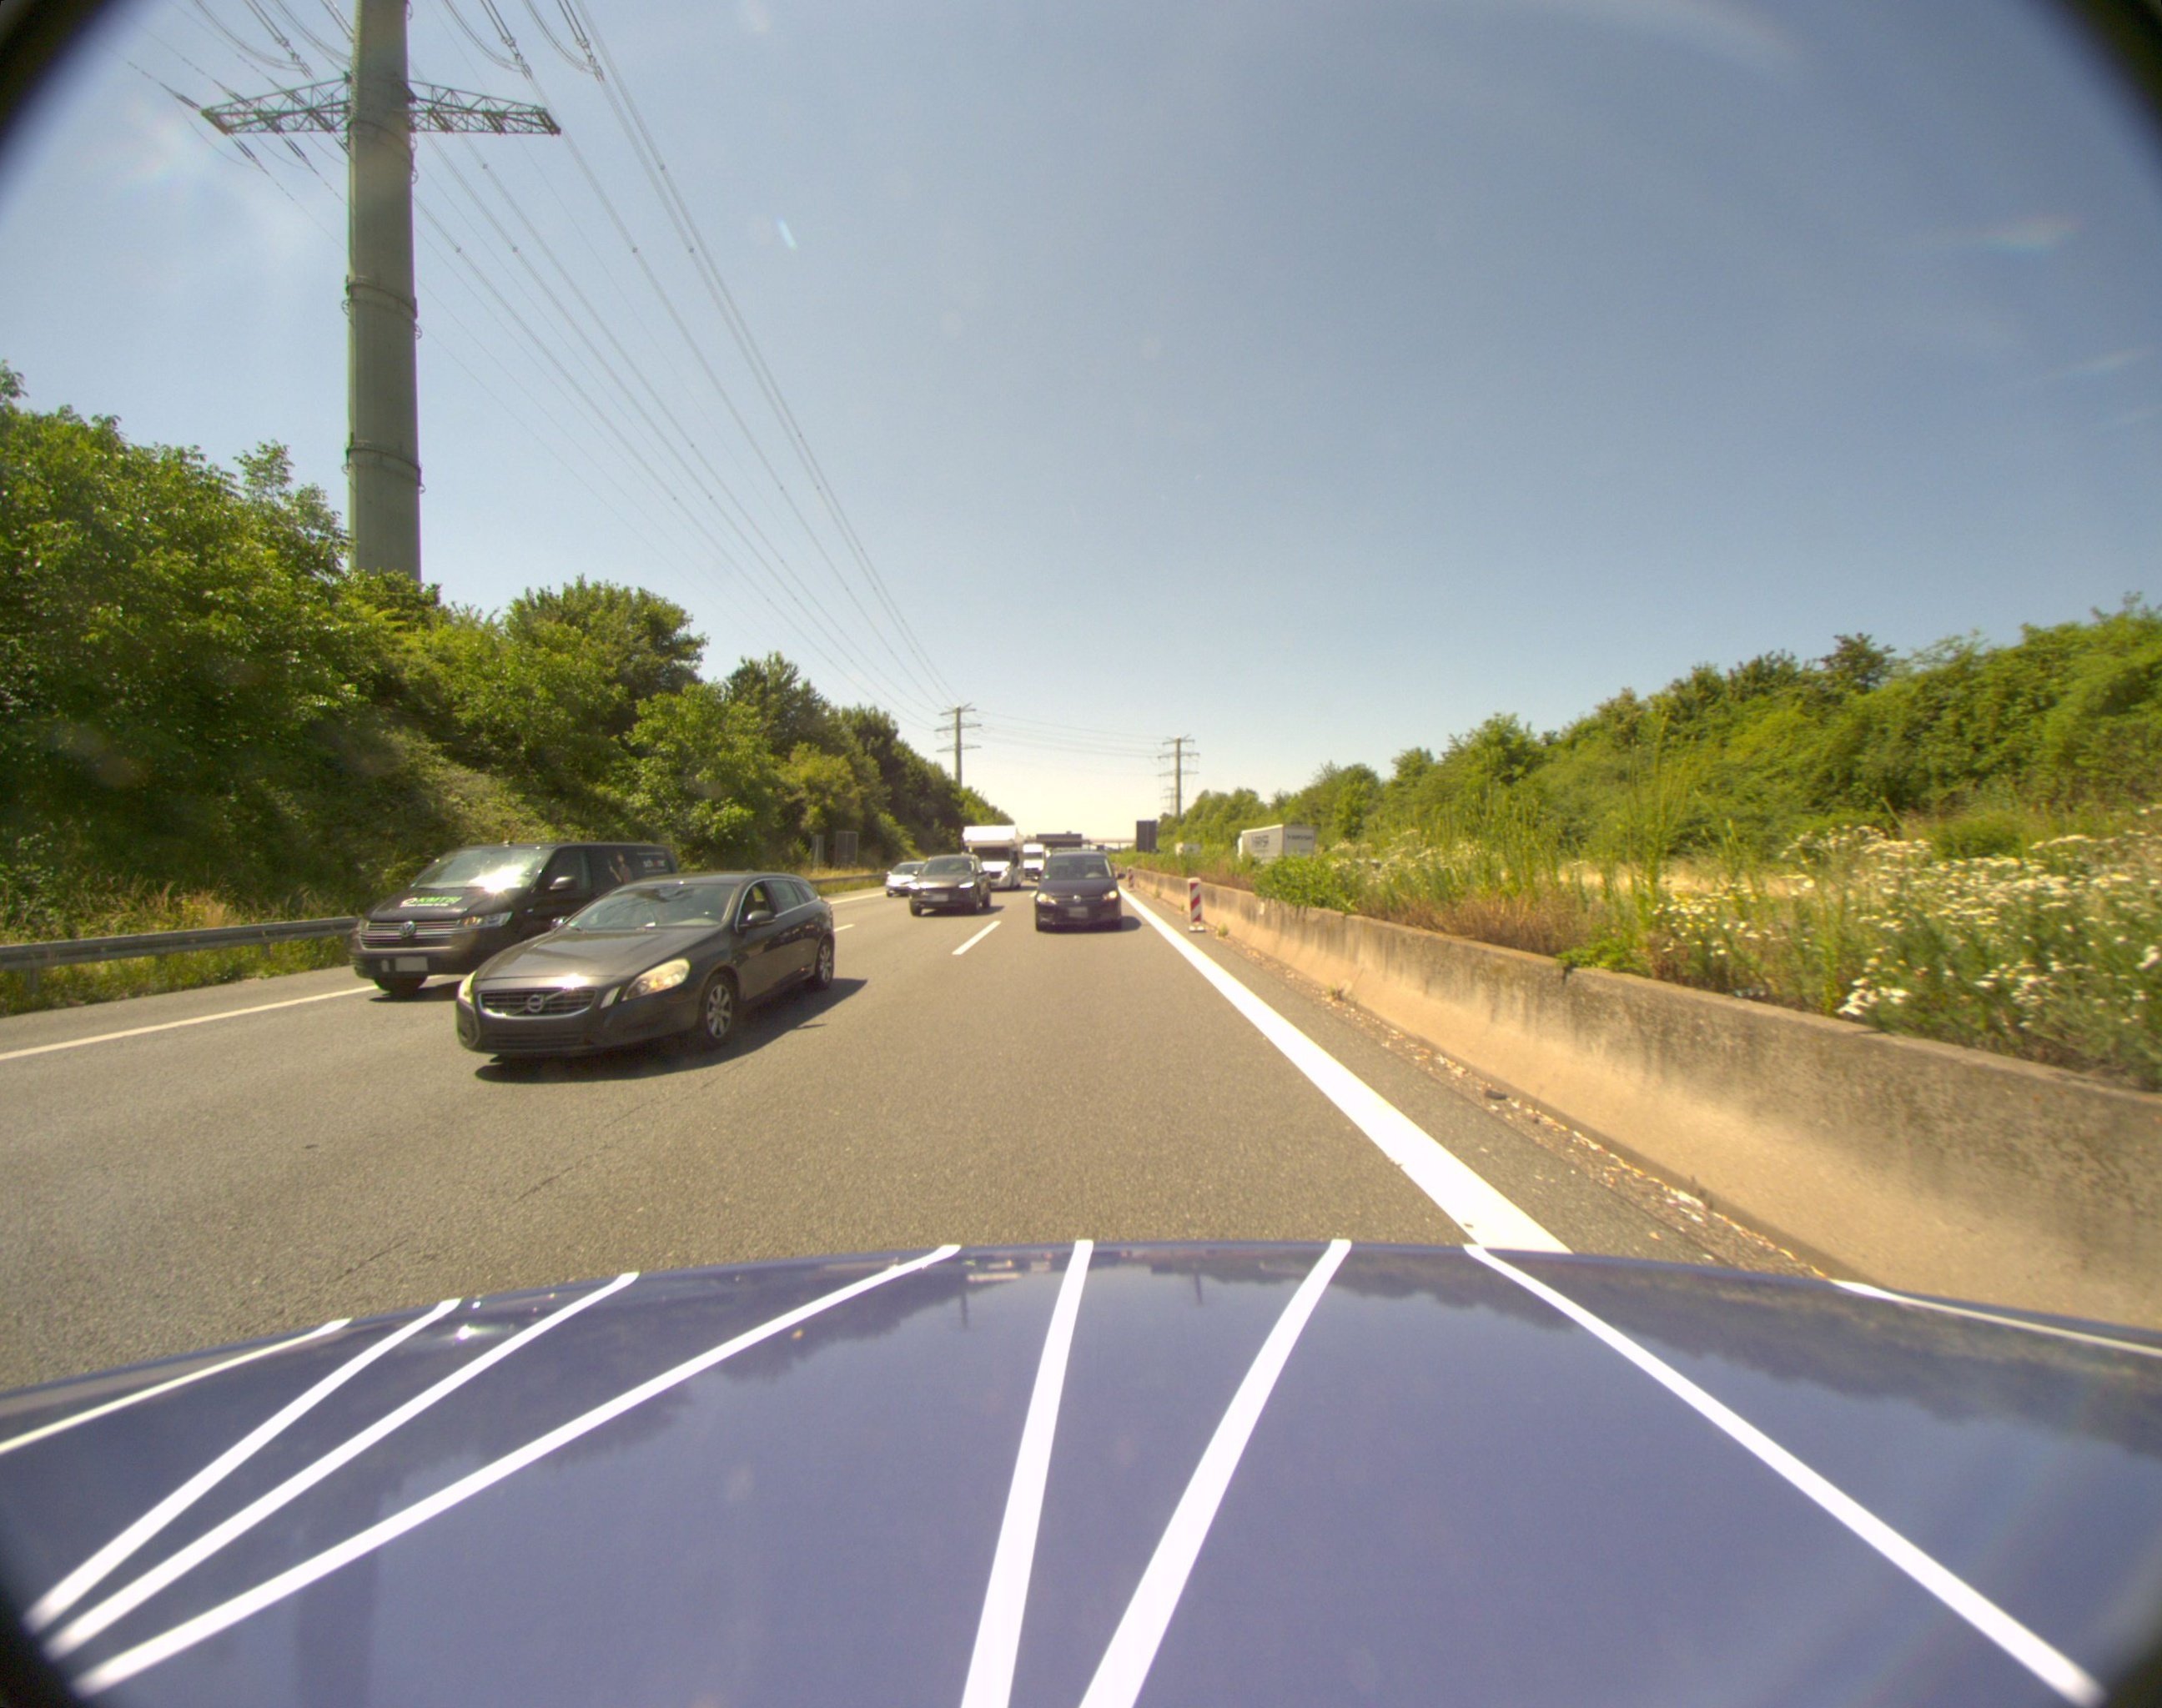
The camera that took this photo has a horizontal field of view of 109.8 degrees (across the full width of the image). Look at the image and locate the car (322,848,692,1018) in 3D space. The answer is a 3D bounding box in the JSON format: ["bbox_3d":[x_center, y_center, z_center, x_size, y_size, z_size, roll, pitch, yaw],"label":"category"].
[{"bbox_3d":[-7.827,0.898,11.128,1.789,1.893,4.697,-2,0,0],"label":"car"}]

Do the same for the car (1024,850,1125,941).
[{"bbox_3d":[-0.171,0.782,16.845,1.892,1.693,4.382,-2,0,-1],"label":"car"}]

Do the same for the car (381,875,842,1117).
[{"bbox_3d":[-3.845,1.024,7.280,1.801,1.429,4.230,-2,0,-1],"label":"car"}]

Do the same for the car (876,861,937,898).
[{"bbox_3d":[-7.554,1.060,33.239,1.801,1.429,3.730,-2,0,-1],"label":"car"}]

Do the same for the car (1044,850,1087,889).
[{"bbox_3d":[-0.795,0.701,36.729,1.892,1.693,4.382,-2,0,-2],"label":"car"}]

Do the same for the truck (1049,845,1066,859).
[{"bbox_3d":[-4.023,-0.316,129.766,2.409,2.203,6.743,-2,0,1],"label":"truck"}]

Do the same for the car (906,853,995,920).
[{"bbox_3d":[-3.671,0.851,22.157,1.892,1.693,4.382,-2,0,-1],"label":"car"}]

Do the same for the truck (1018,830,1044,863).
[{"bbox_3d":[-6.858,-1.010,105.188,2.655,4.128,11.660,-2,0,0],"label":"truck"}]

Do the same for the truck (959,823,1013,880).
[{"bbox_3d":[-7.546,-0.229,61.960,2.655,4.128,11.660,-2,0,0],"label":"truck"}]

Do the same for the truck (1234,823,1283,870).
[{"bbox_3d":[16.346,-0.682,70.447,3.024,4.143,5.805,2,1,0],"label":"truck"}]

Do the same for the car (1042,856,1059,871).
[{"bbox_3d":[-3.743,1.093,93.342,1.892,1.693,4.382,-2,0,-1],"label":"car"}]

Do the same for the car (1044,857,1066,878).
[{"bbox_3d":[-2.329,1.217,69.309,1.892,1.693,4.382,-2,0,-1],"label":"car"}]

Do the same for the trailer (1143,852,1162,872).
[{"bbox_3d":[15.944,1.669,170.606,2.760,4.143,14.195,2,0,0],"label":"trailer"}]

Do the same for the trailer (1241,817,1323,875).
[{"bbox_3d":[16.265,-0.627,63.018,3.024,4.143,14.019,2,0,0],"label":"trailer"}]

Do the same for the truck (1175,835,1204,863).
[{"bbox_3d":[15.982,-0.694,112.618,2.769,3.866,9.028,2,0,0],"label":"truck"}]

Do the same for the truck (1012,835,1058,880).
[{"bbox_3d":[-3.314,0.233,57.183,2.514,2.997,9.897,-2,0,1],"label":"truck"}]

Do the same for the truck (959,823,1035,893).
[{"bbox_3d":[-4.017,0.143,38.613,2.514,2.997,9.897,-2,0,1],"label":"truck"}]
